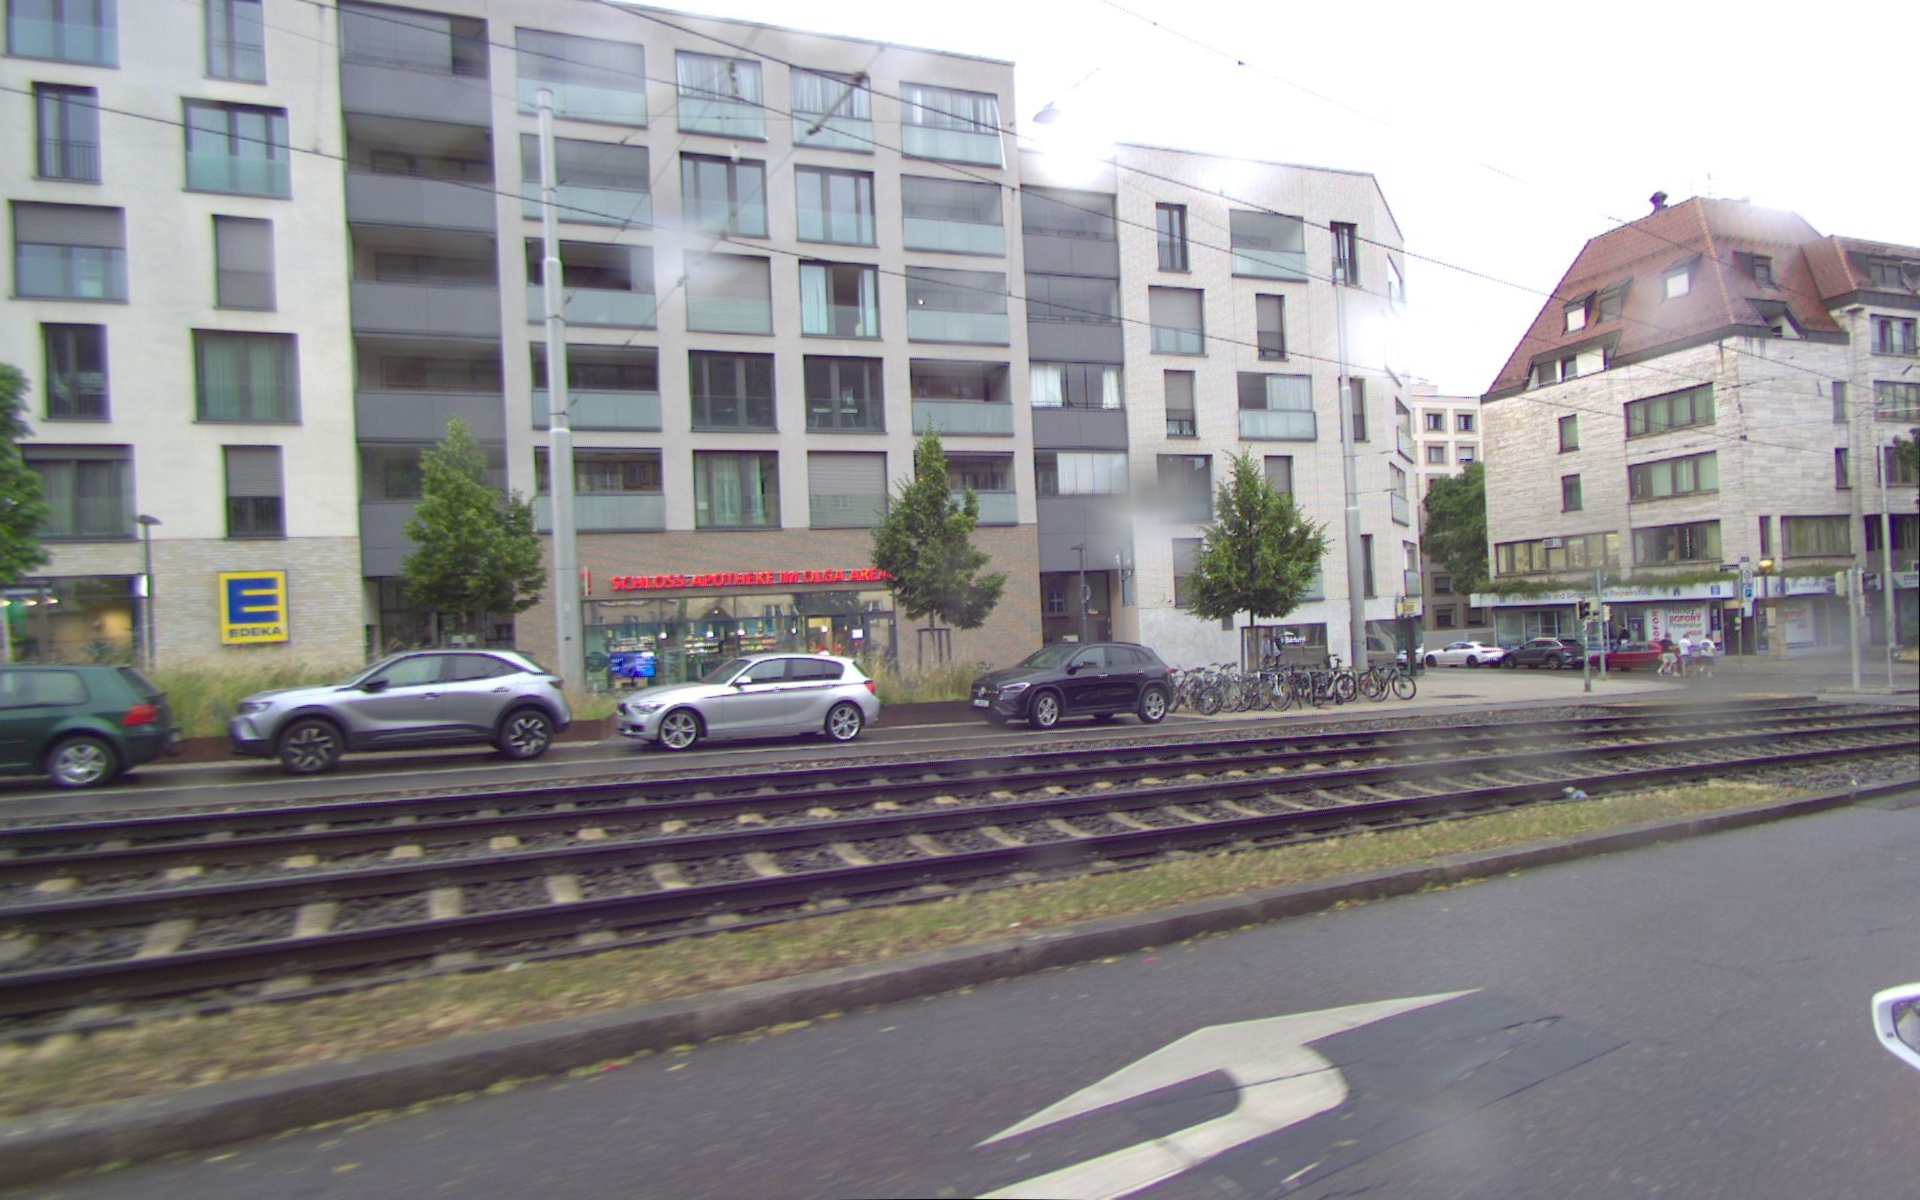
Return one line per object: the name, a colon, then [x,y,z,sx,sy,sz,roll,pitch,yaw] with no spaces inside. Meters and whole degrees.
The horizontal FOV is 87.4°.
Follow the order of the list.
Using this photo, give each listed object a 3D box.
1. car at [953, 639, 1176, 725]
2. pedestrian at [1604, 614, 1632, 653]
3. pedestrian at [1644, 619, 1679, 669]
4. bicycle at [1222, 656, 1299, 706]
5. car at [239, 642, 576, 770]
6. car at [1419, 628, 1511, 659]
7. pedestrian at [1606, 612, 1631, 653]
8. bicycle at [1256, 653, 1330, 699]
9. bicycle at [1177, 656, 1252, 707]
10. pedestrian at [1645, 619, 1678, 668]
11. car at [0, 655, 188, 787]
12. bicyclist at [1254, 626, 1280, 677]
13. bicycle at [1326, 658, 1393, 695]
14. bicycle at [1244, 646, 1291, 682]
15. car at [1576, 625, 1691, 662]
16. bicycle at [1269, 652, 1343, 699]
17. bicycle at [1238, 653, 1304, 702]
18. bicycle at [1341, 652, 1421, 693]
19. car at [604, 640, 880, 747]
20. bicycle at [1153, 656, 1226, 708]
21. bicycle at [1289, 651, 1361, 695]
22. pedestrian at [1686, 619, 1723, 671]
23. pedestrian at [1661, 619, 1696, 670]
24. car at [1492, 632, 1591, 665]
car: [2.113,1.558,20.029,4.192,1.523,1.901,1,-3,-34]
pedestrian: [33.870,1.725,51.693,0.816,1.957,0.900,1,-3,-31]
pedestrian: [29.232,1.832,41.868,0.757,2.040,0.936,1,-2,-33]
bicycle: [7.090,1.899,23.775,0.454,1.078,1.779,1,-1,-43]
car: [-7.553,1.365,13.948,3.880,1.523,1.762,1,-3,-34]
car: [27.652,2.354,55.159,1.879,1.589,4.454,0,-2,-20]
pedestrian: [33.152,1.632,50.572,0.693,2.040,0.793,1,-1,-22]
bicycle: [8.422,1.903,25.463,0.454,1.078,1.779,1,-1,-43]
bicycle: [5.953,1.899,23.592,0.454,1.078,1.781,1,-1,-40]
pedestrian: [30.012,1.856,42.981,0.757,2.040,0.936,1,-2,-33]
car: [-11.350,1.352,11.326,3.962,1.380,1.542,1,-1,-30]
bicyclist: [9.716,1.627,31.817,0.695,1.594,0.458,1,-1,-36]
bicycle: [10.754,2.050,27.080,0.564,0.877,1.636,1,-1,-39]
bicycle: [9.767,2.018,31.845,1.785,1.078,0.453,1,-1,-37]
car: [30.815,1.966,46.109,1.796,1.589,4.128,0,-2,-20]
bicycle: [8.942,1.947,26.007,1.776,1.123,0.453,-1,-1,41]
bicycle: [7.621,1.892,24.716,0.479,1.086,1.762,0,-1,-26]
bicycle: [11.598,1.981,27.711,0.715,1.041,1.934,1,-1,-38]
car: [-3.500,1.433,16.342,4.040,1.523,1.763,1,-4,-34]
bicycle: [5.258,1.854,23.083,0.453,1.078,1.784,1,-1,-36]
bicycle: [9.805,1.954,27.047,0.565,1.078,1.781,1,-1,-41]
pedestrian: [29.619,1.763,39.949,0.756,2.040,0.937,0,-2,-30]
pedestrian: [29.214,1.796,40.828,0.757,2.040,0.936,1,-2,-33]
car: [29.329,2.403,50.766,1.796,1.589,4.128,0,-2,-20]
